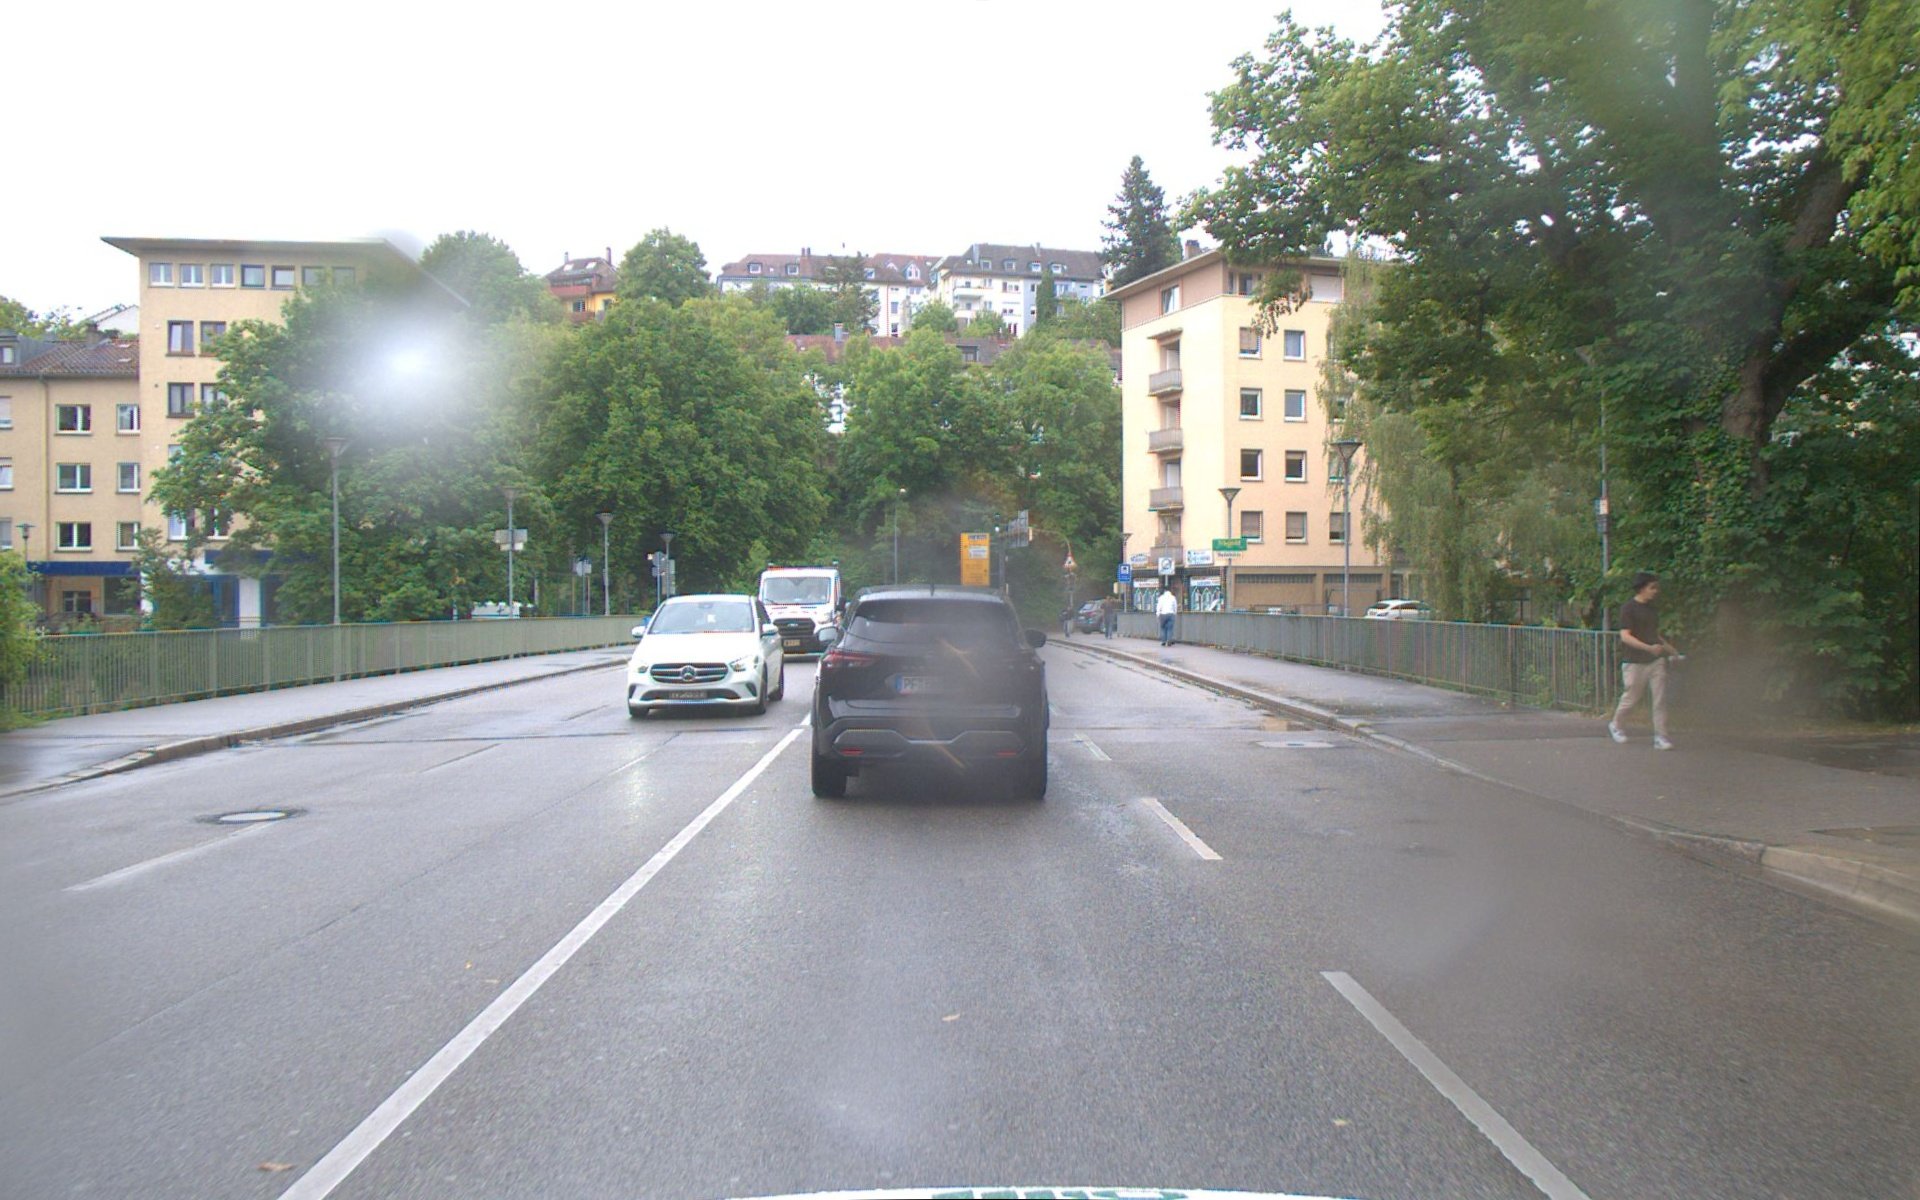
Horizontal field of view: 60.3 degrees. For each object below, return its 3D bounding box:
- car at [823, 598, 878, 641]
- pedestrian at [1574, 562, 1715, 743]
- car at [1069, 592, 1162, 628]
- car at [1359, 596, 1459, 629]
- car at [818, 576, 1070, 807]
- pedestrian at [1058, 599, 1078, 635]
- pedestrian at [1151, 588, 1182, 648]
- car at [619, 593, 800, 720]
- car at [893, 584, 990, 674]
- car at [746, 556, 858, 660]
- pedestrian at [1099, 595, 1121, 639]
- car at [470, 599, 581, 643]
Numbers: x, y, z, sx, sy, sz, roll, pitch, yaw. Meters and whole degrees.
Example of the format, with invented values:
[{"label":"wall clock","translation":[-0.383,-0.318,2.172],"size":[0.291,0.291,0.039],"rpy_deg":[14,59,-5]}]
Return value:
[{"label":"car","translation":[-3.895,0.684,59.401],"size":[1.710,1.464,3.999],"rpy_deg":[-1,0,-1]},{"label":"pedestrian","translation":[6.809,0.506,16.523],"size":[0.830,1.705,1.167],"rpy_deg":[-3,-1,-1]},{"label":"car","translation":[7.836,0.517,83.443],"size":[4.314,1.678,1.867],"rpy_deg":[-2,-1,-27]},{"label":"car","translation":[21.380,0.575,78.747],"size":[4.369,1.400,1.808],"rpy_deg":[-1,2,-18]},{"label":"car","translation":[-0.145,0.645,13.768],"size":[1.774,1.631,3.999],"rpy_deg":[1,0,-1]},{"label":"pedestrian","translation":[5.125,0.803,78.283],"size":[0.845,1.647,0.839],"rpy_deg":[-2,-1,-1]},{"label":"pedestrian","translation":[6.238,0.548,50.055],"size":[0.764,1.783,1.060],"rpy_deg":[-1,-1,-1]},{"label":"car","translation":[-3.322,0.689,22.694],"size":[1.745,1.499,4.167],"rpy_deg":[-2,1,1]},{"label":"car","translation":[-0.373,0.520,32.475],"size":[1.774,1.631,3.999],"rpy_deg":[1,0,-1]},{"label":"car","translation":[-3.853,0.152,41.502],"size":[2.243,2.349,6.507],"rpy_deg":[-2,1,-1]},{"label":"pedestrian","translation":[5.924,0.666,65.382],"size":[0.745,1.706,0.781],"rpy_deg":[-2,0,-1]},{"label":"car","translation":[-19.709,0.932,75.207],"size":[4.655,1.886,1.996],"rpy_deg":[0,1,-10]}]
